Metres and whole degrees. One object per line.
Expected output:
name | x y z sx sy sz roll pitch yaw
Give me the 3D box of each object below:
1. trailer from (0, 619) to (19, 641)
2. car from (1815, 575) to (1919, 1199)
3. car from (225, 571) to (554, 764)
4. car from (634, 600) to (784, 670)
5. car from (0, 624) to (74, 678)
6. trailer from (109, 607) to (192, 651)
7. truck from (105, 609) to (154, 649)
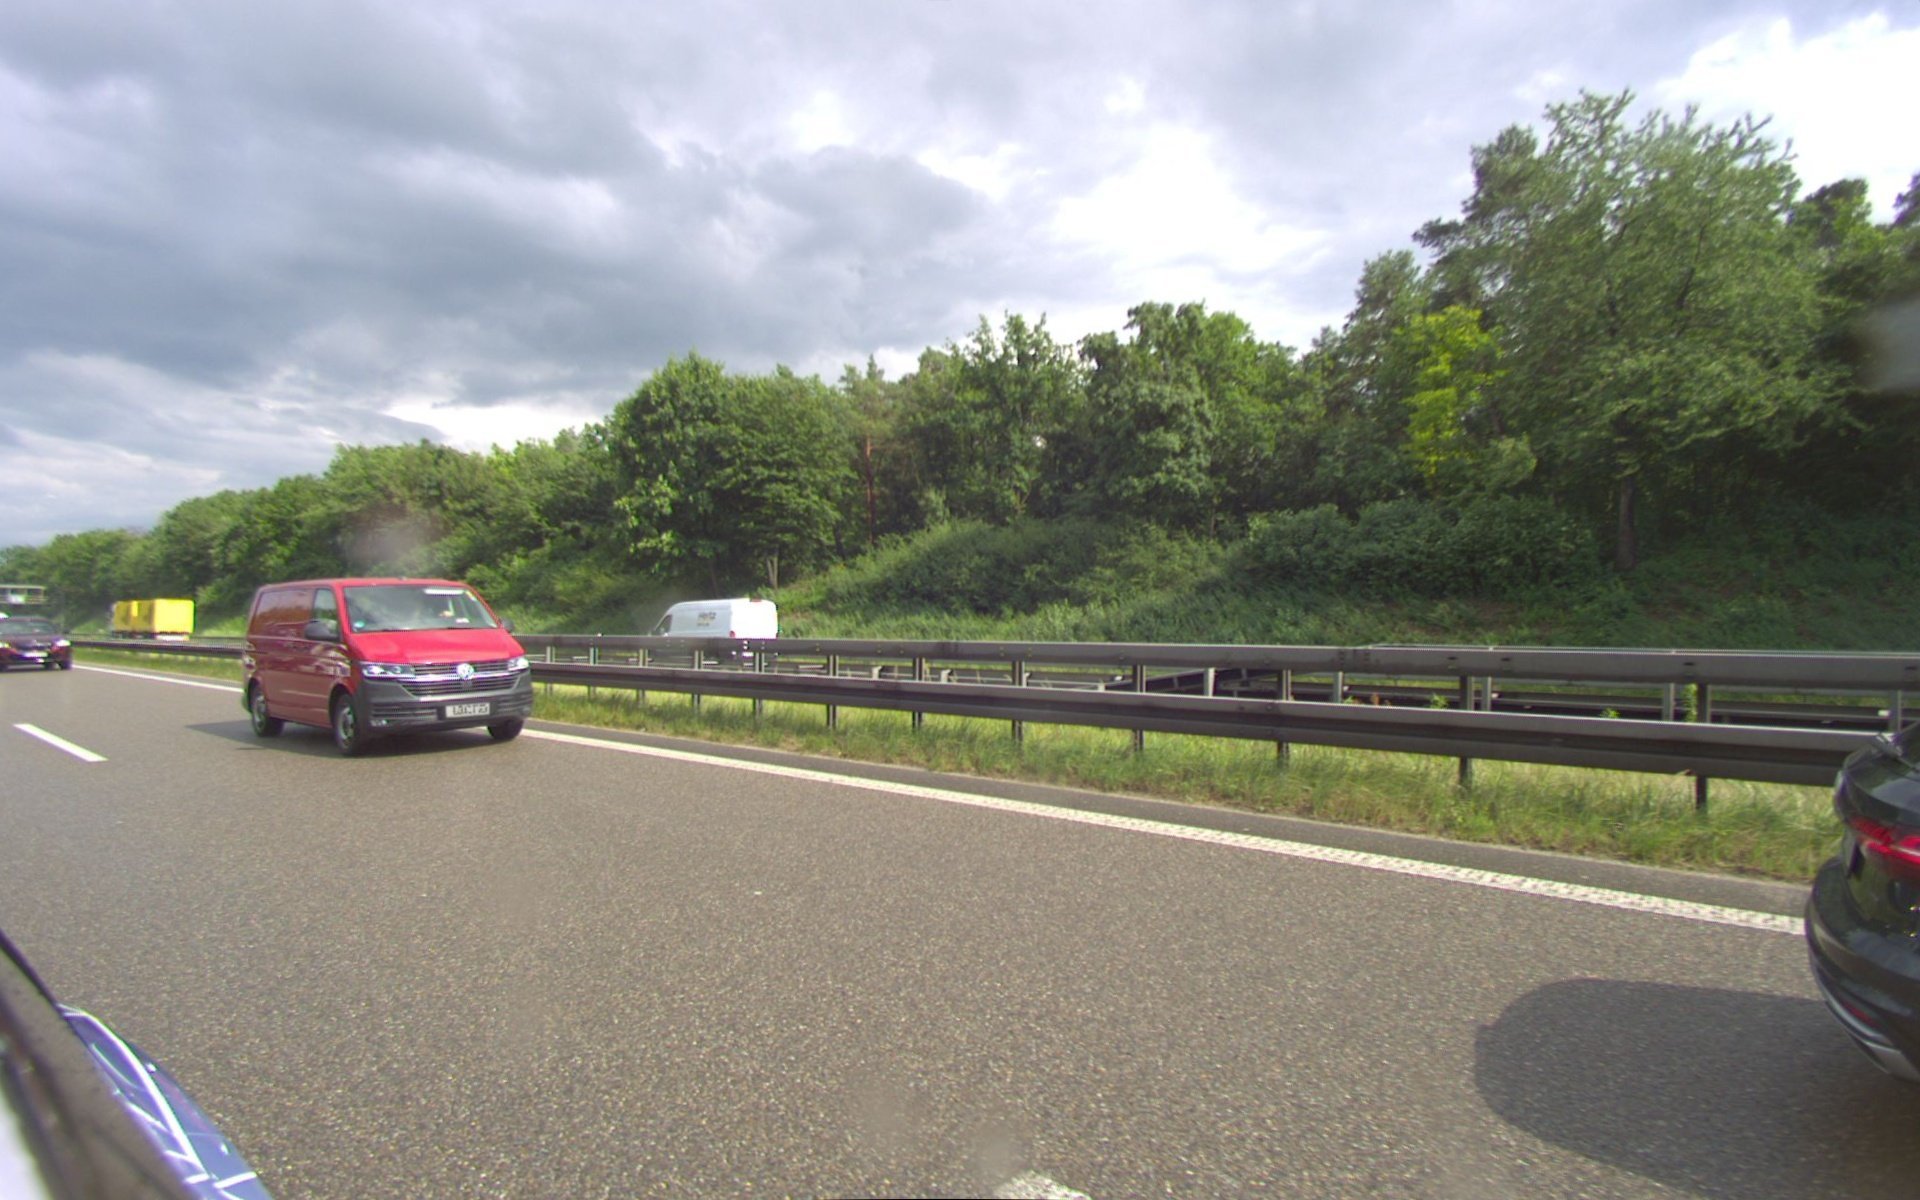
trailer | -175.141 5.420 184.770 17.939 3.860 2.960 -1 0 41
car | 4.401 0.614 1.434 4.836 1.429 1.776 -1 0 41
car | -7.002 0.692 12.170 4.836 1.880 1.902 -1 0 41
car | -8.982 1.190 35.832 5.977 2.266 2.122 -1 0 41
car | -29.192 1.532 31.337 4.836 1.508 1.983 -1 0 41
trailer | -74.364 2.640 92.782 16.662 3.672 2.695 -1 0 40
truck | -80.315 2.771 97.807 5.327 3.692 2.695 -1 0 40
